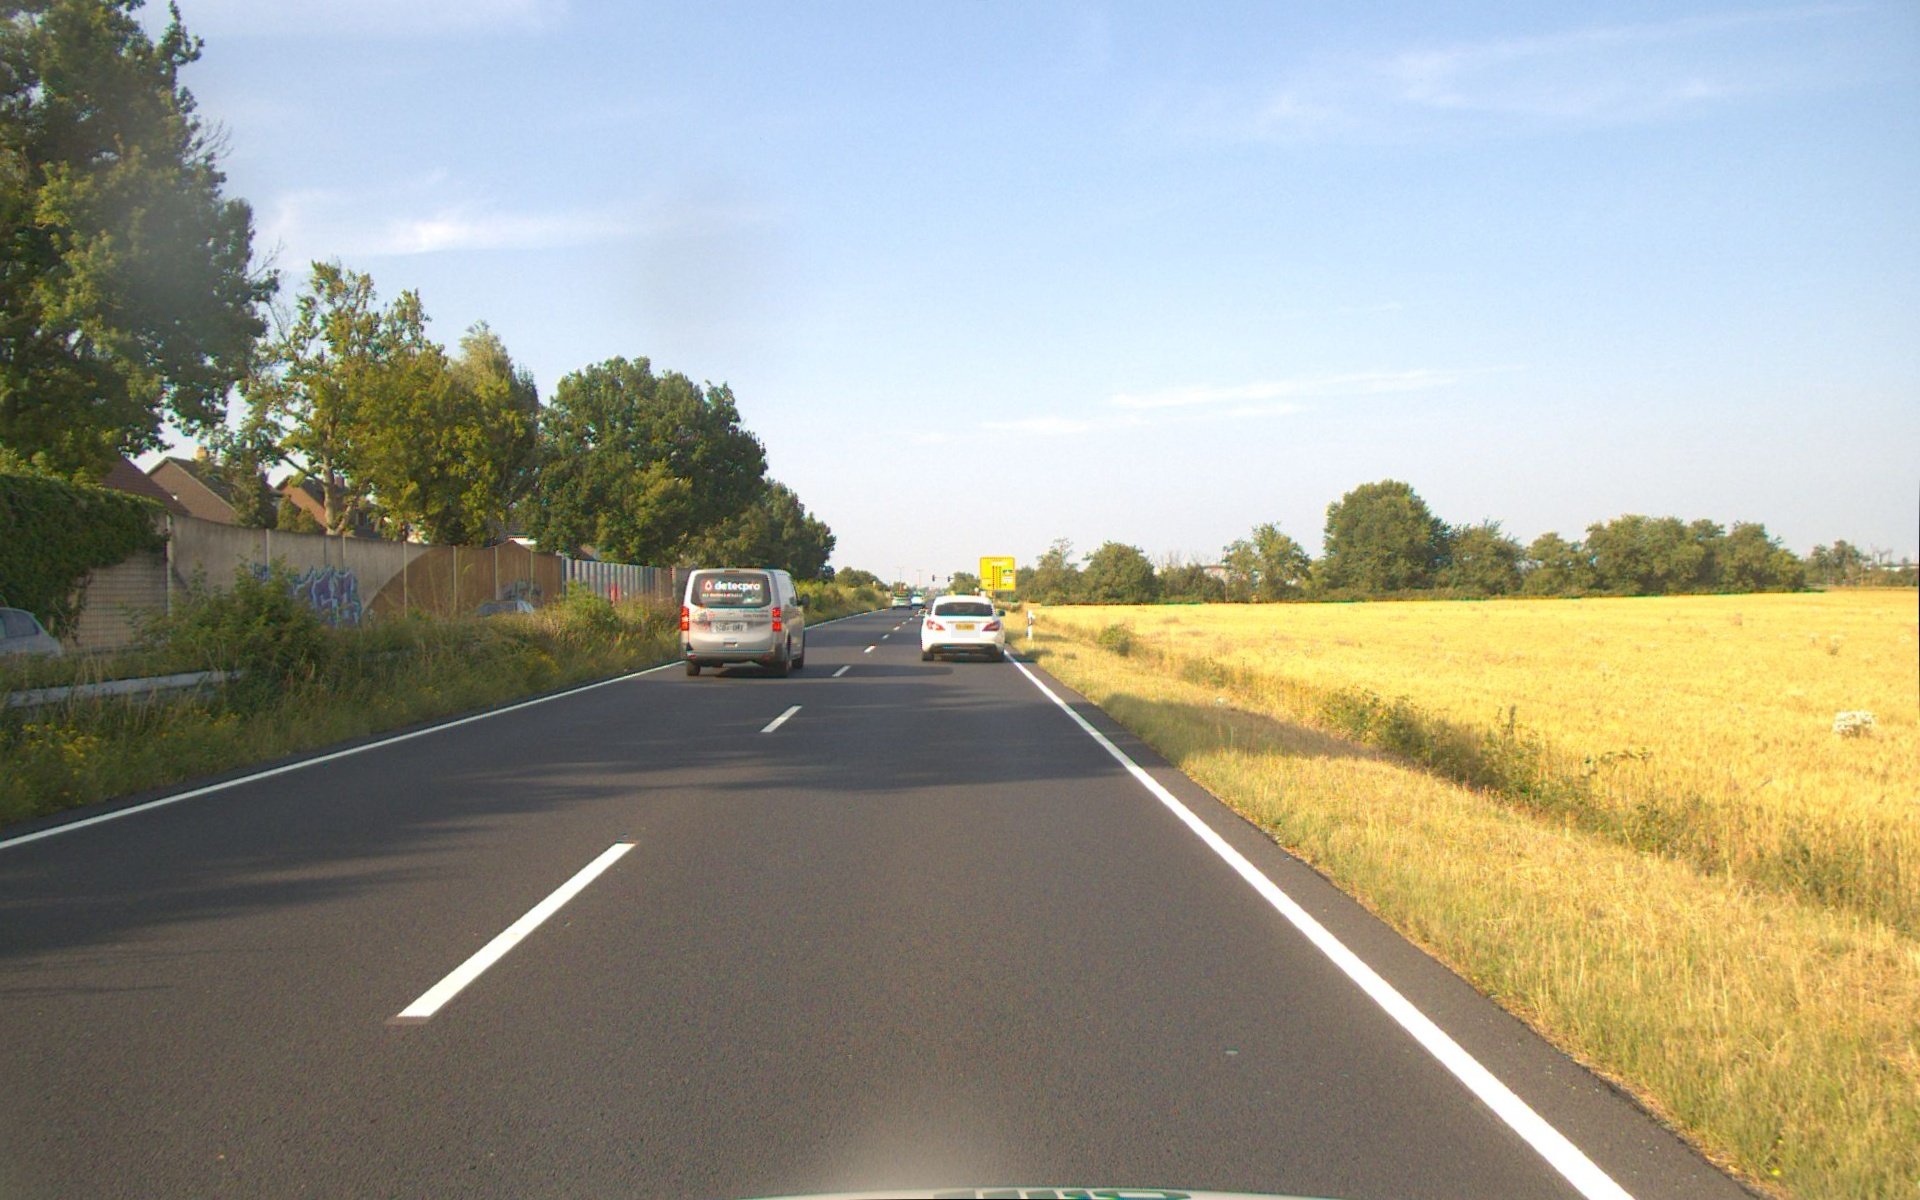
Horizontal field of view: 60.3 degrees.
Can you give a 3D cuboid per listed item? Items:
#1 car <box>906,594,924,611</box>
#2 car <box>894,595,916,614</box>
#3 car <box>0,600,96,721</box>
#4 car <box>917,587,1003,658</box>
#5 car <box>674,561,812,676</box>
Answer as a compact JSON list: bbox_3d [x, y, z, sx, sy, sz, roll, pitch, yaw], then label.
[{"bbox_3d":[-4.603,0.216,168.147,1.839,1.680,3.662,1,0,-2],"label":"car"},{"bbox_3d":[-4.701,0.392,141.397,1.682,1.518,3.584,1,0,0],"label":"car"},{"bbox_3d":[-15.100,0.888,25.088,1.897,1.758,3.999,1,0,-1],"label":"car"},{"bbox_3d":[-0.023,0.494,37.569,1.856,1.535,3.999,0,0,-1],"label":"car"},{"bbox_3d":[-3.909,0.298,30.589,1.984,1.925,4.957,1,0,-1],"label":"car"}]
